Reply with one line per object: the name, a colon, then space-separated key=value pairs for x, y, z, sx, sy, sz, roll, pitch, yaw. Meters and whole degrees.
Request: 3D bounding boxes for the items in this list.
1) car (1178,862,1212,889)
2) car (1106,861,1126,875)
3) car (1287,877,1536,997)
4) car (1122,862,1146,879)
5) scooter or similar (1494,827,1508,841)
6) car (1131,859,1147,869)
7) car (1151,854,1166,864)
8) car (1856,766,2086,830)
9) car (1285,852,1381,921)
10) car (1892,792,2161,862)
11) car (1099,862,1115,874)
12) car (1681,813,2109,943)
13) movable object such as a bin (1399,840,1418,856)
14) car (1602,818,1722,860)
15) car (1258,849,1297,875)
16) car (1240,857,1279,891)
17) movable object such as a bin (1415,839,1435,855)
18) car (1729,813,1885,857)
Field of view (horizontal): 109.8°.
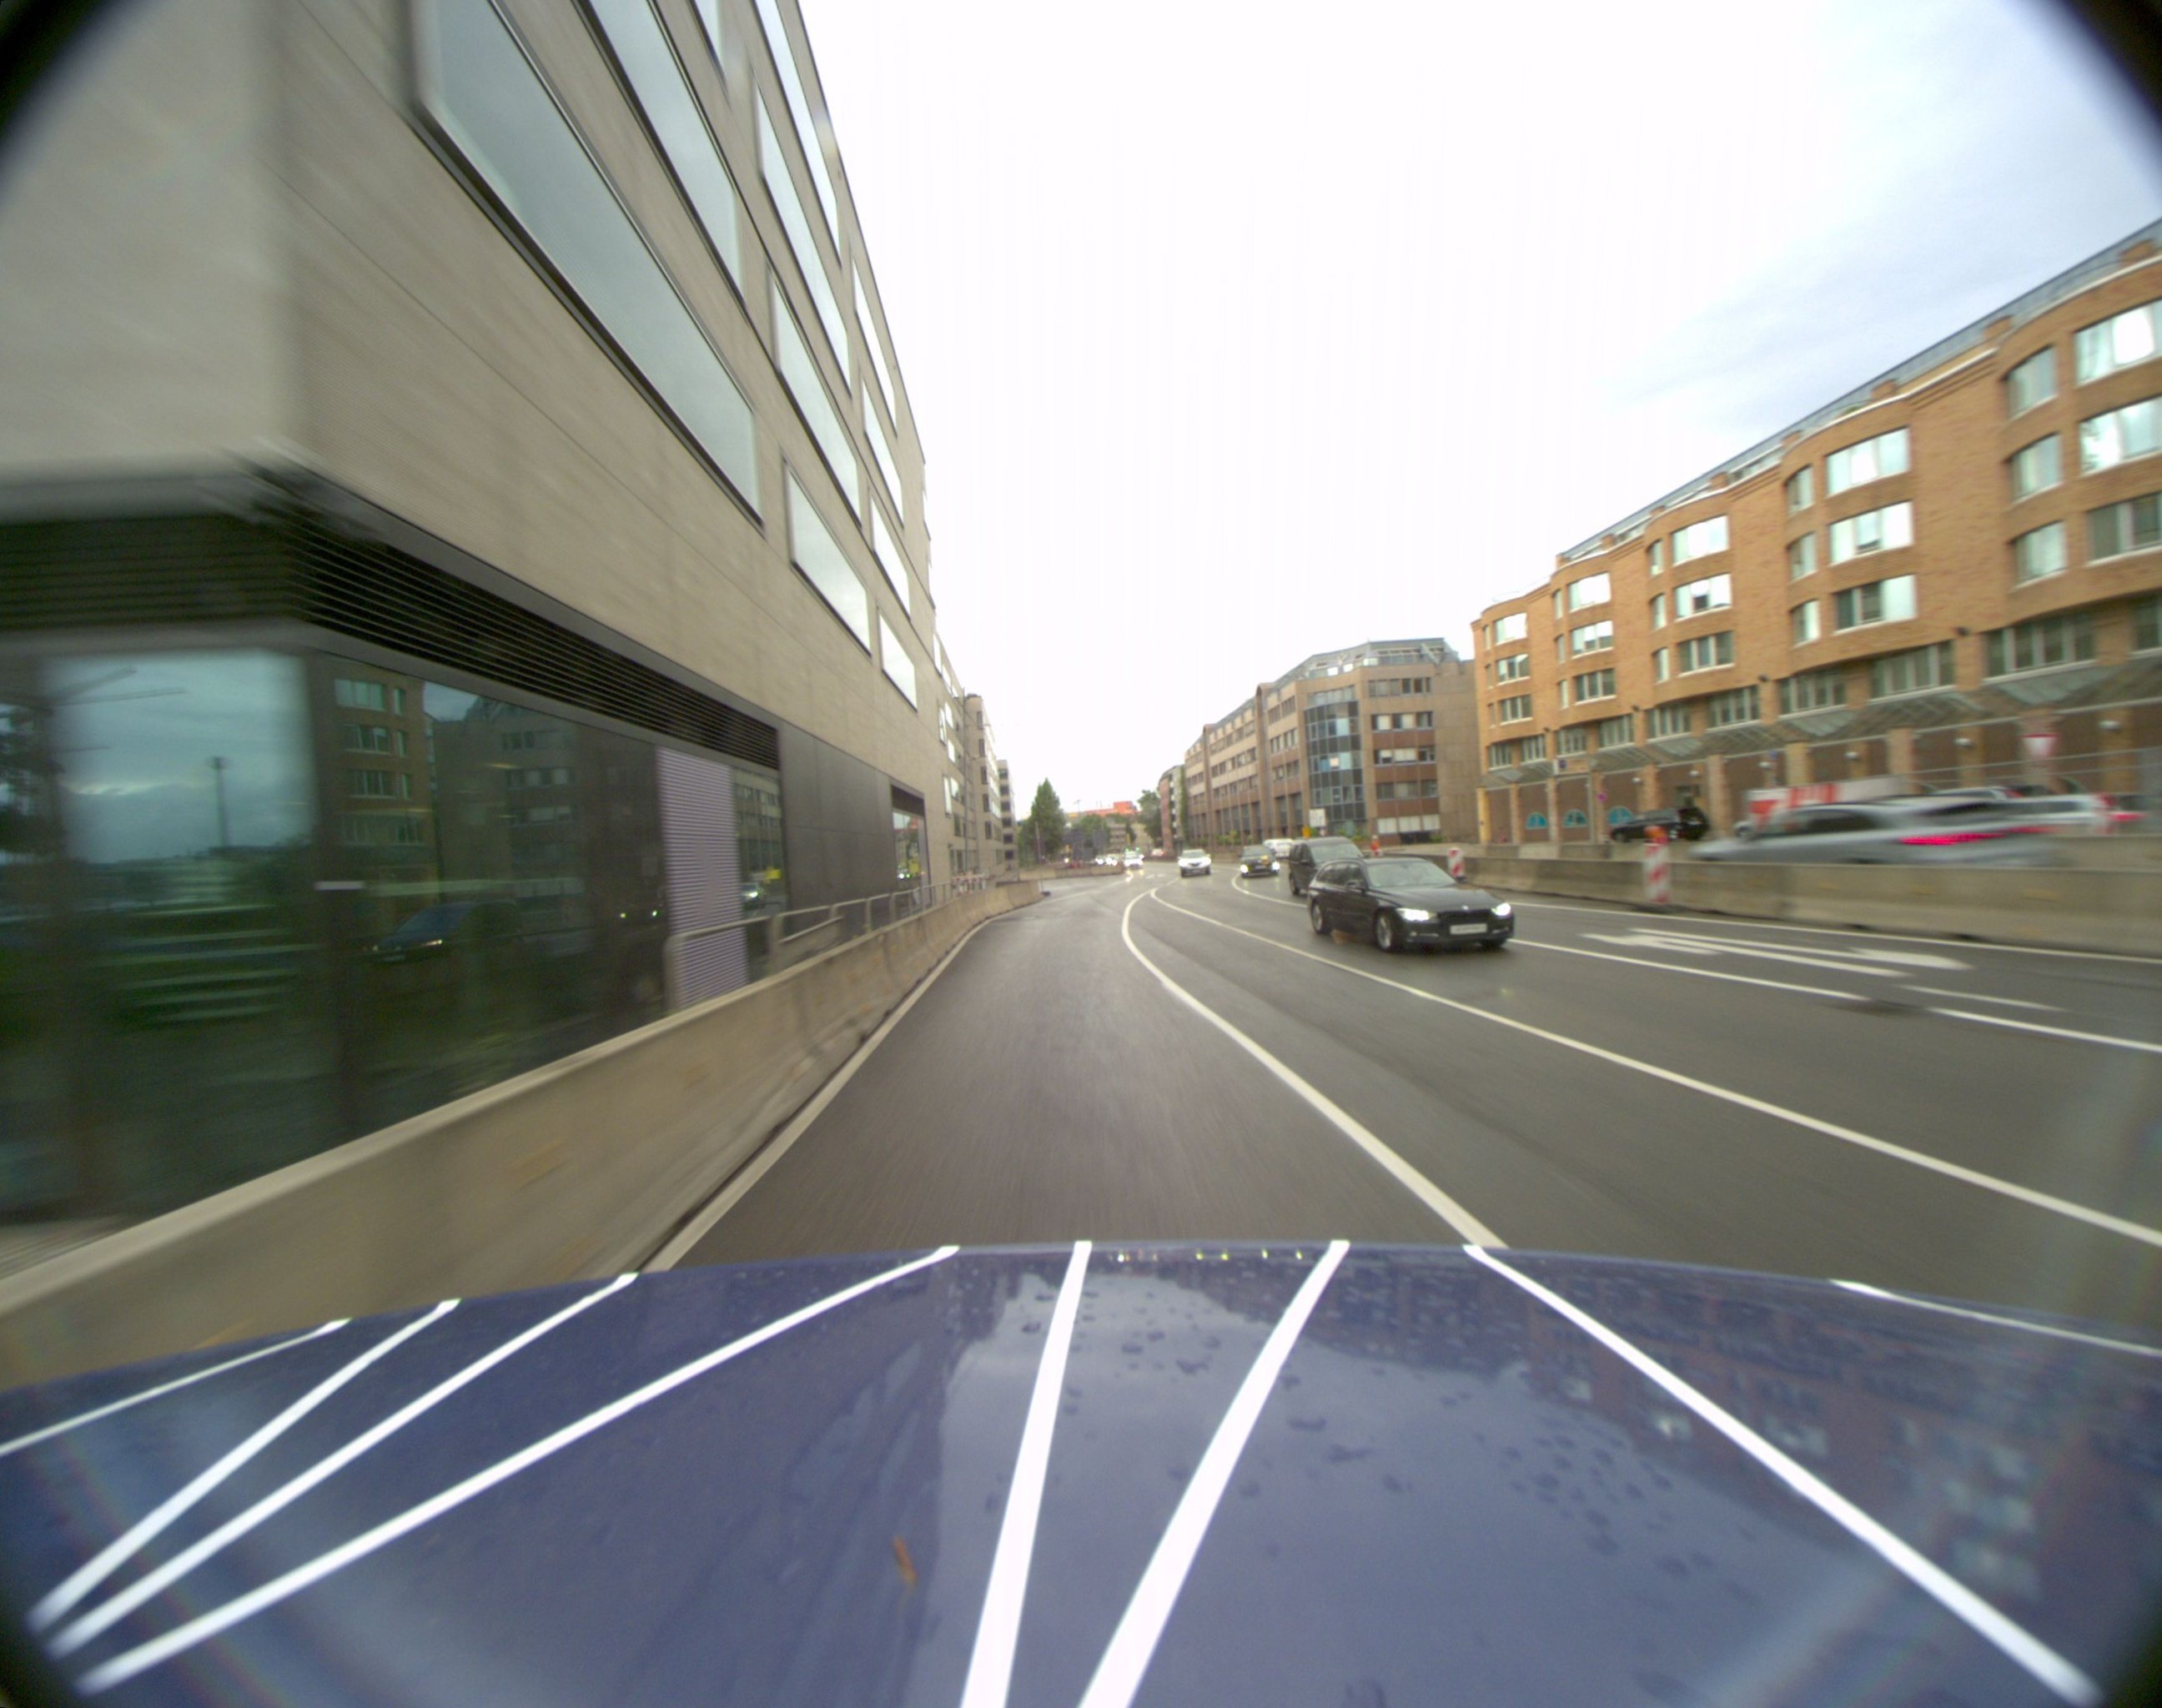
car: x=7.196 y=1.329 z=48.395 sx=1.771 sy=1.524 sz=4.658 roll=-4 pitch=0 yaw=5
car: x=4.156 y=1.688 z=90.144 sx=1.773 sy=1.524 sz=4.655 roll=-4 pitch=0 yaw=-3
car: x=5.183 y=1.201 z=12.763 sx=1.773 sy=1.435 sz=4.655 roll=-4 pitch=0 yaw=-5
car: x=5.445 y=1.706 z=78.300 sx=1.773 sy=1.524 sz=4.655 roll=-4 pitch=0 yaw=-3
scooter or similar: x=32.966 y=-1.565 z=59.614 sx=0.450 sy=1.056 sz=1.045 roll=-4 pitch=0 yaw=-1
car: x=9.180 y=1.579 z=119.714 sx=1.773 sy=1.524 sz=4.655 roll=-4 pitch=0 yaw=-3
car: x=14.443 y=0.983 z=141.342 sx=1.891 sy=1.772 sz=4.876 roll=-4 pitch=0 yaw=-2
car: x=31.115 y=-1.878 z=26.894 sx=1.999 sy=1.680 sz=5.049 roll=-4 pitch=-1 yaw=-3
car: x=7.601 y=0.902 z=23.331 sx=1.798 sy=1.790 sz=4.252 roll=-5 pitch=0 yaw=6
car: x=24.354 y=-0.607 z=19.716 sx=1.765 sy=1.517 sz=4.363 roll=-3 pitch=-1 yaw=-4
car: x=3.659 y=1.981 z=107.924 sx=1.773 sy=1.524 sz=4.655 roll=-4 pitch=0 yaw=-3
car: x=12.696 y=0.361 z=12.480 sx=1.998 sy=1.613 sz=4.703 roll=-4 pitch=-1 yaw=2
movable object such as a bin: x=32.106 y=-0.556 z=74.475 sx=1.246 sy=1.471 sz=1.351 roll=-4 pitch=0 yaw=4
car: x=30.150 y=-0.694 z=39.673 sx=1.999 sy=1.875 sz=5.012 roll=-4 pitch=-1 yaw=-5
car: x=16.376 y=0.658 z=63.531 sx=1.998 sy=1.874 sz=4.871 roll=-4 pitch=0 yaw=2
car: x=9.304 y=0.994 z=39.818 sx=1.771 sy=1.524 sz=4.360 roll=-4 pitch=0 yaw=12
movable object such as a bin: x=33.657 y=-0.719 z=74.340 sx=1.246 sy=1.471 sz=1.351 roll=-4 pitch=0 yaw=4
car: x=30.830 y=-0.749 z=32.493 sx=1.999 sy=1.584 sz=4.538 roll=-4 pitch=-1 yaw=-6
